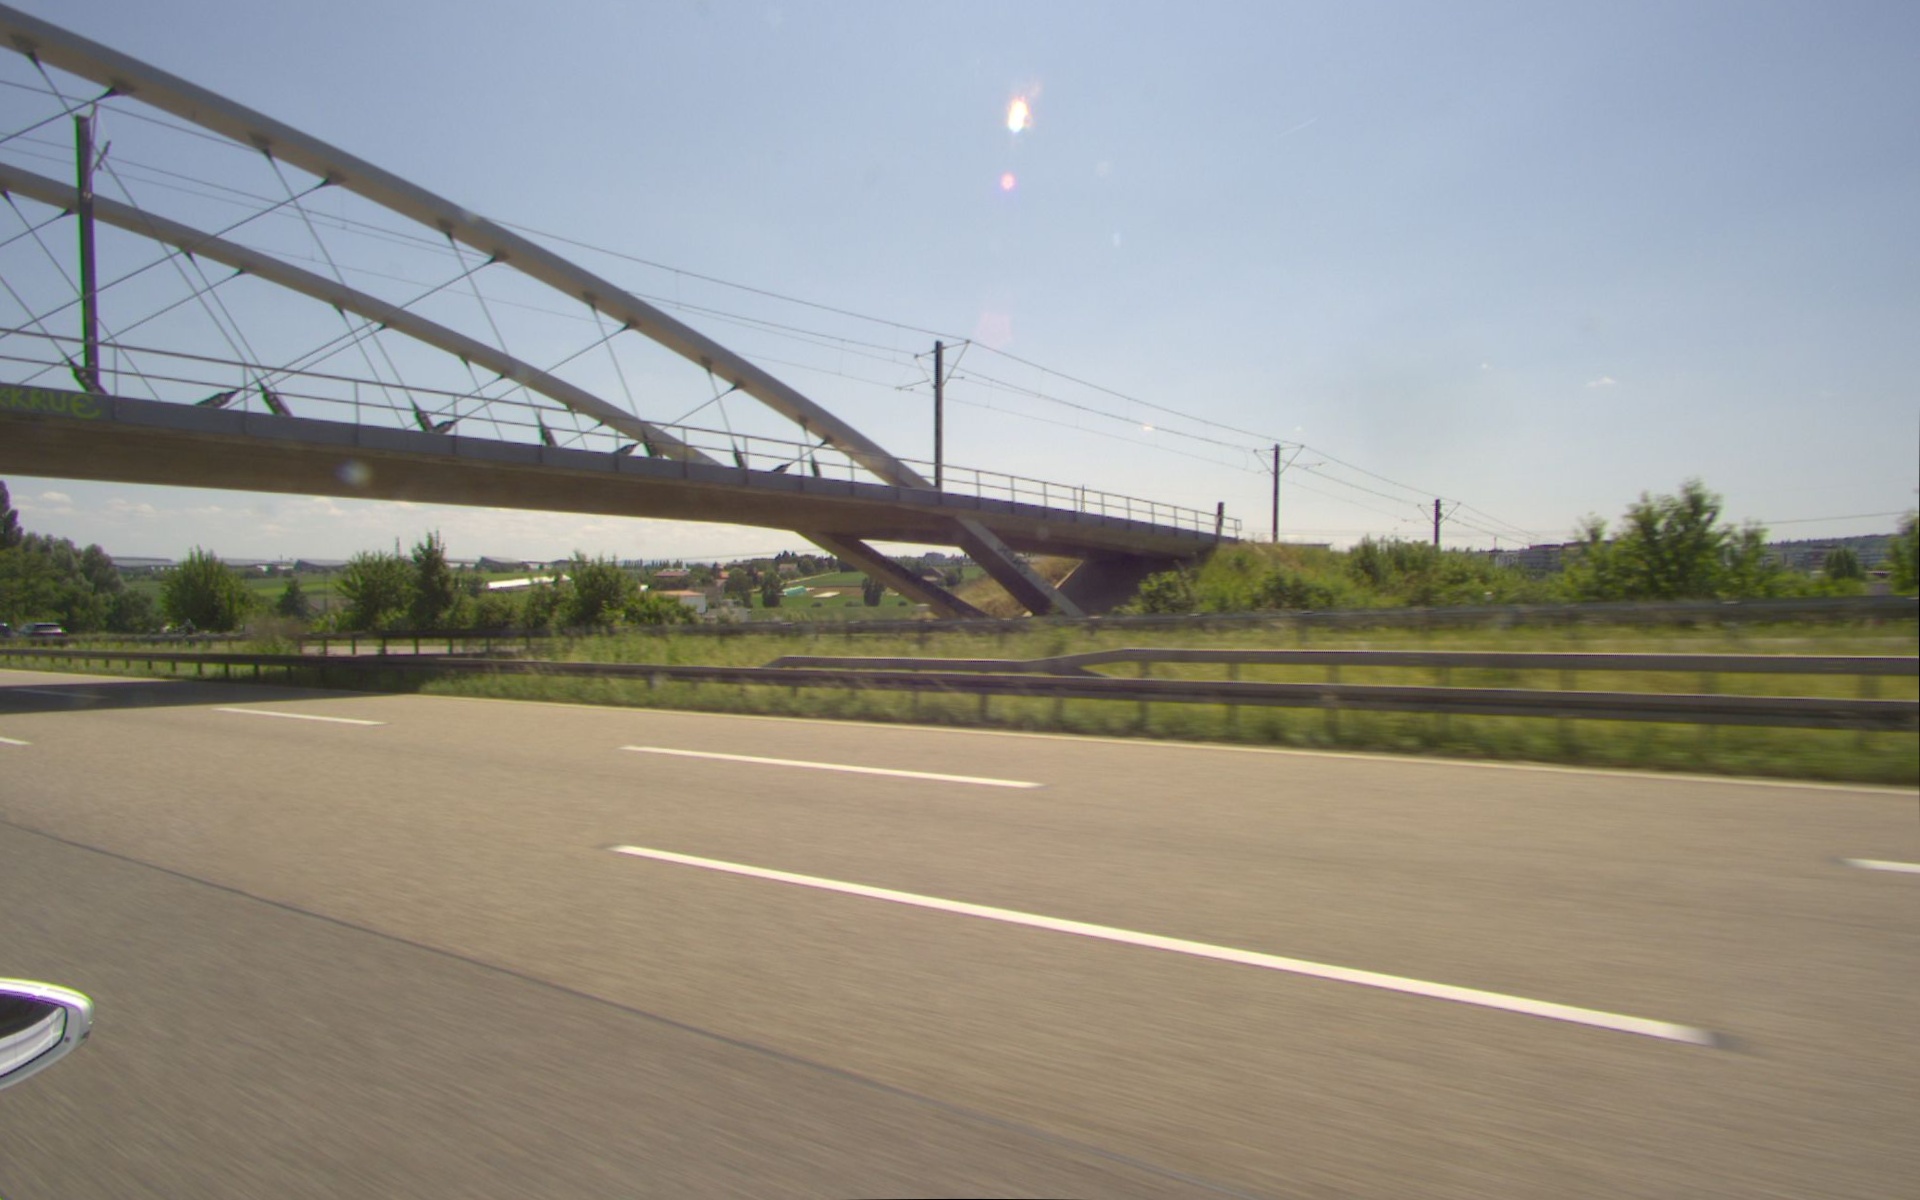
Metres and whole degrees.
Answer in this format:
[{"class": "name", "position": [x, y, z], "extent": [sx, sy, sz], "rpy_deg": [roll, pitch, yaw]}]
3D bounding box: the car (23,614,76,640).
[{"class": "car", "position": [-57.893, 1.733, 63.678], "extent": [4.074, 1.595, 1.695], "rpy_deg": [-1, -2, 36]}]

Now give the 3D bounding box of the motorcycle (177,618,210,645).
[{"class": "motorcycle", "position": [-40.150, 1.632, 52.426], "extent": [1.842, 1.384, 0.759], "rpy_deg": [-1, -1, 31]}]

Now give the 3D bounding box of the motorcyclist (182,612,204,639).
[{"class": "motorcyclist", "position": [-40.189, 1.342, 52.450], "extent": [0.866, 1.384, 0.667], "rpy_deg": [-1, -1, 32]}]

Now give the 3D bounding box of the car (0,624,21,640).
[{"class": "car", "position": [-80.125, 2.637, 83.505], "extent": [3.942, 1.293, 1.697], "rpy_deg": [-1, -2, 31]}]
